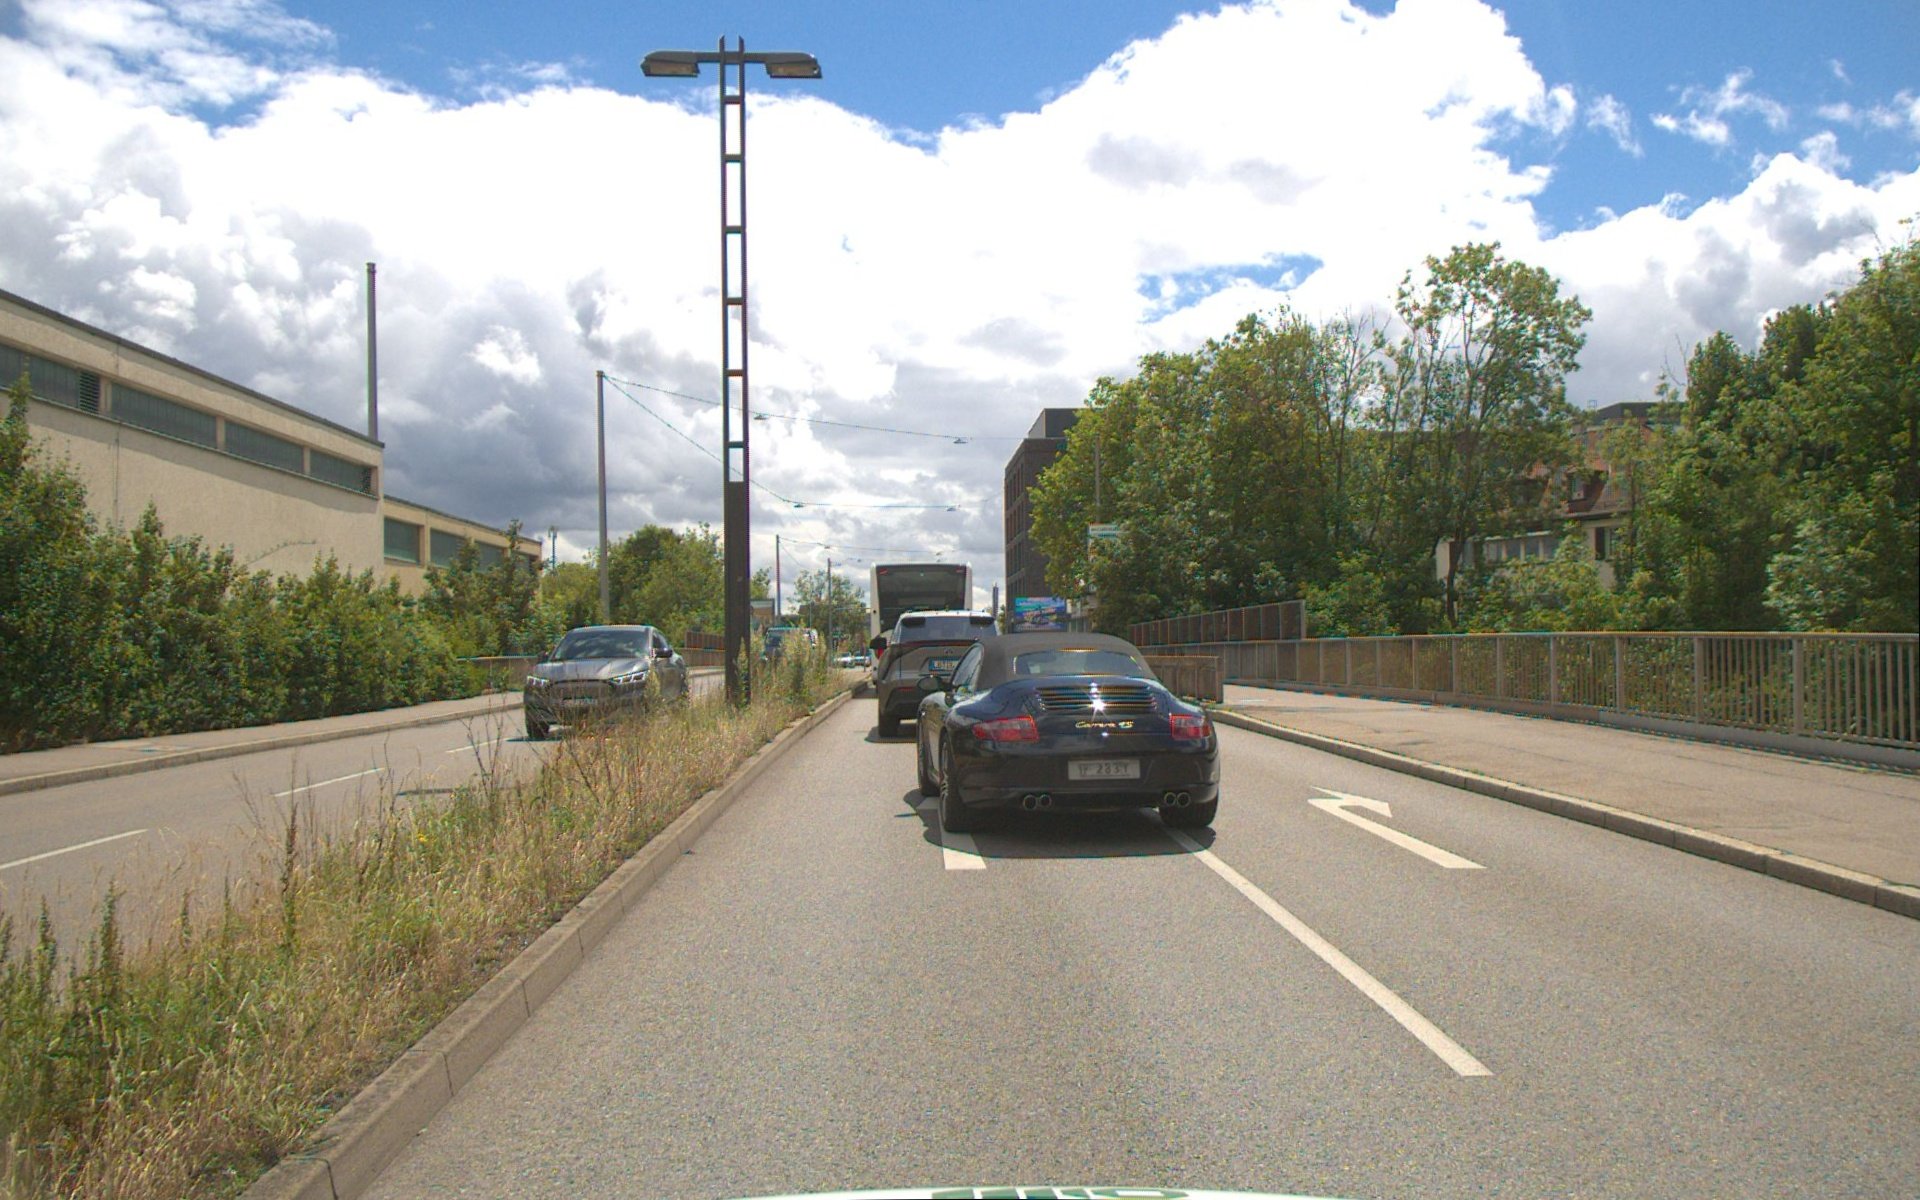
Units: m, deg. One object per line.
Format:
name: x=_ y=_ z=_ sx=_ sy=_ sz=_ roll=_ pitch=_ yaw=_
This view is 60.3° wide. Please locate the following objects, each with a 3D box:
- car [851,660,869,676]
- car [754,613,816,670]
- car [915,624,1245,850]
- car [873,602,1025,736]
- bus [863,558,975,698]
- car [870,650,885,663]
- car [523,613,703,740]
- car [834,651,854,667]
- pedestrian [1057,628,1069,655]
car: x=-10.041 y=6.808 z=166.045 sx=1.774 sy=1.588 sz=4.204 roll=0 pitch=-2 yaw=-2
car: x=-6.259 y=1.481 z=59.553 sx=1.954 sy=1.921 sz=4.865 roll=-1 pitch=-1 yaw=-3
car: x=0.682 y=0.856 z=12.061 sx=1.687 sy=1.297 sz=4.082 roll=0 pitch=0 yaw=-7
car: x=-0.160 y=0.845 z=22.338 sx=1.841 sy=1.622 sz=4.229 roll=1 pitch=0 yaw=-1
bus: x=-1.027 y=0.550 z=45.507 sx=2.634 sy=3.312 sz=12.056 roll=1 pitch=1 yaw=-1
car: x=-9.156 y=6.255 z=183.239 sx=1.595 sy=1.456 sz=3.998 roll=-1 pitch=-2 yaw=-2
car: x=-5.156 y=1.073 z=25.142 sx=1.840 sy=1.655 sz=4.442 roll=-2 pitch=0 yaw=-2
car: x=-10.146 y=5.140 z=144.902 sx=1.604 sy=1.387 sz=4.192 roll=-1 pitch=-2 yaw=-2
pedestrian: x=6.861 y=2.769 z=110.116 sx=0.666 sy=1.726 sz=0.598 roll=-2 pitch=-2 yaw=24
